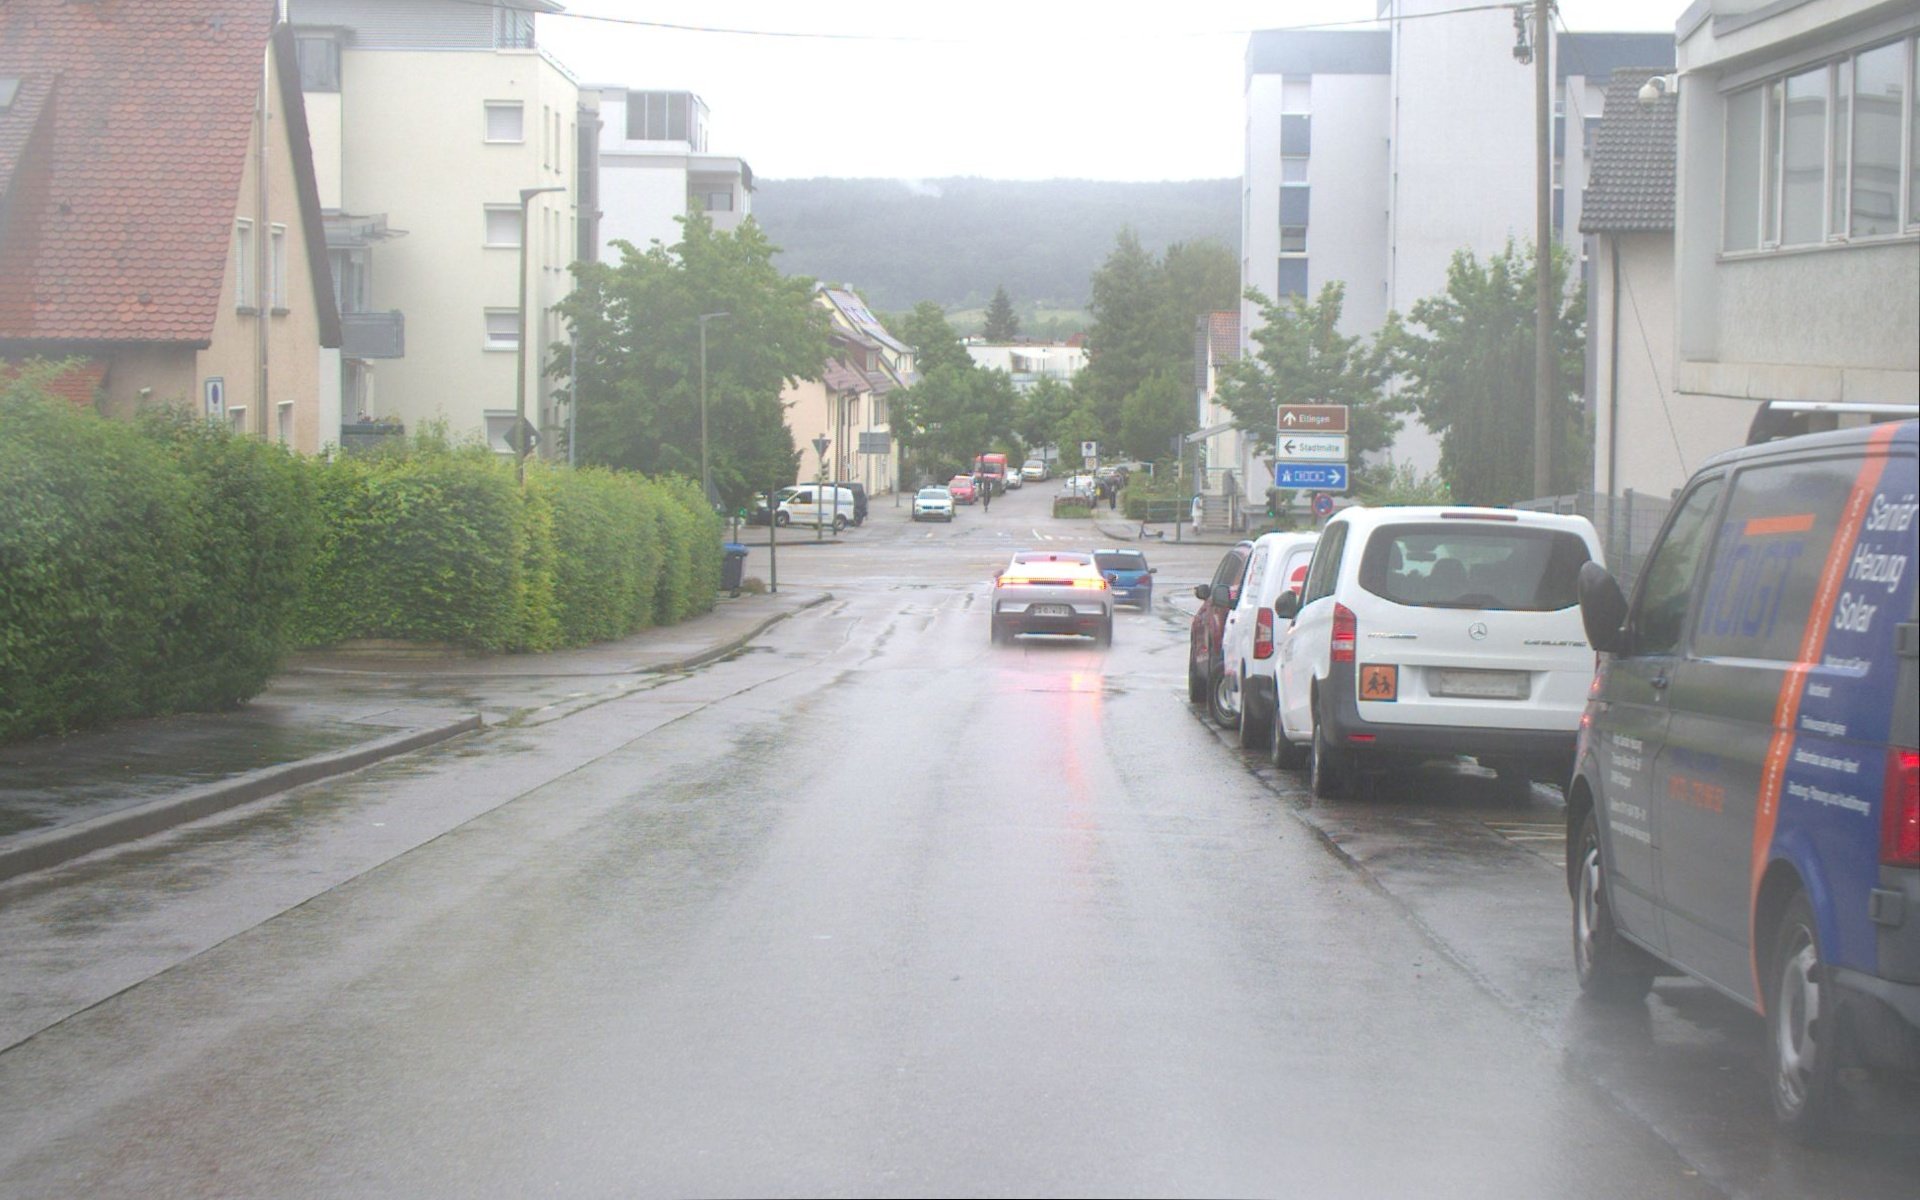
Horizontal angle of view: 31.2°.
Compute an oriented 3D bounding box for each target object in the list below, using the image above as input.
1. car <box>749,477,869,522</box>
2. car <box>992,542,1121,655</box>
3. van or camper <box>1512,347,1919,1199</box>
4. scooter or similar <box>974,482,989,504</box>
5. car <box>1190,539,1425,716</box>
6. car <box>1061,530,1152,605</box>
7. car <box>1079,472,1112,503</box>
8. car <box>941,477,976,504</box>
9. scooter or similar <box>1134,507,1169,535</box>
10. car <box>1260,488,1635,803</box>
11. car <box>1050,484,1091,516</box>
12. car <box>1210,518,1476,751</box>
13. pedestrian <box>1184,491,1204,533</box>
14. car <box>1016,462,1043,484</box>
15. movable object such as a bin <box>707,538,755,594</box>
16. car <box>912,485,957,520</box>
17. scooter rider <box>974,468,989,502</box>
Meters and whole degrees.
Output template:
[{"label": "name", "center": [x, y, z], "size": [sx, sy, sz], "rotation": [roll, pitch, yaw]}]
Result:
[{"label": "car", "center": [-6.415, -4.295, 146.348], "size": [4.829, 1.829, 2.000], "rotation": [-2, 3, -36]}, {"label": "car", "center": [1.566, -0.054, 57.171], "size": [1.993, 1.678, 4.001], "rotation": [0, 3, 0]}, {"label": "van or camper", "center": [3.030, 0.424, 10.206], "size": [1.993, 2.106, 5.203], "rotation": [0, 1, 1]}, {"label": "scooter or similar", "center": [1.190, -5.829, 187.440], "size": [0.757, 1.167, 1.314], "rotation": [0, 2, 3]}, {"label": "car", "center": [3.429, 0.211, 34.762], "size": [1.993, 1.639, 4.958], "rotation": [1, 1, 2]}, {"label": "car", "center": [3.552, -0.813, 84.027], "size": [1.993, 1.678, 4.001], "rotation": [0, 3, 0]}, {"label": "car", "center": [7.904, -6.603, 201.460], "size": [1.901, 1.739, 4.192], "rotation": [0, 2, 2]}, {"label": "car", "center": [-0.068, -6.459, 202.634], "size": [1.901, 1.553, 4.192], "rotation": [0, 2, 2]}, {"label": "scooter or similar", "center": [7.605, -3.138, 136.630], "size": [1.268, 1.077, 0.877], "rotation": [-1, 2, -3]}, {"label": "car", "center": [3.230, 0.233, 23.755], "size": [1.993, 1.928, 4.976], "rotation": [1, 1, 2]}, {"label": "car", "center": [5.774, -5.241, 179.628], "size": [2.146, 1.583, 4.128], "rotation": [0, 2, 2]}, {"label": "car", "center": [3.191, 0.231, 29.432], "size": [1.878, 1.827, 4.489], "rotation": [1, 1, 2]}, {"label": "pedestrian", "center": [9.388, -3.533, 137.771], "size": [0.647, 1.641, 0.526], "rotation": [3, 2, -5]}, {"label": "car", "center": [5.095, -9.350, 252.682], "size": [1.901, 1.553, 4.192], "rotation": [0, 2, 2]}, {"label": "movable object such as a bin", "center": [-5.730, -0.862, 86.100], "size": [1.071, 1.343, 1.319], "rotation": [2, 1, -1]}, {"label": "car", "center": [-1.214, -4.740, 166.222], "size": [1.993, 1.620, 4.192], "rotation": [0, 2, 2]}, {"label": "scooter rider", "center": [1.181, -6.270, 187.350], "size": [0.752, 1.789, 0.673], "rotation": [0, 2, 2]}]
